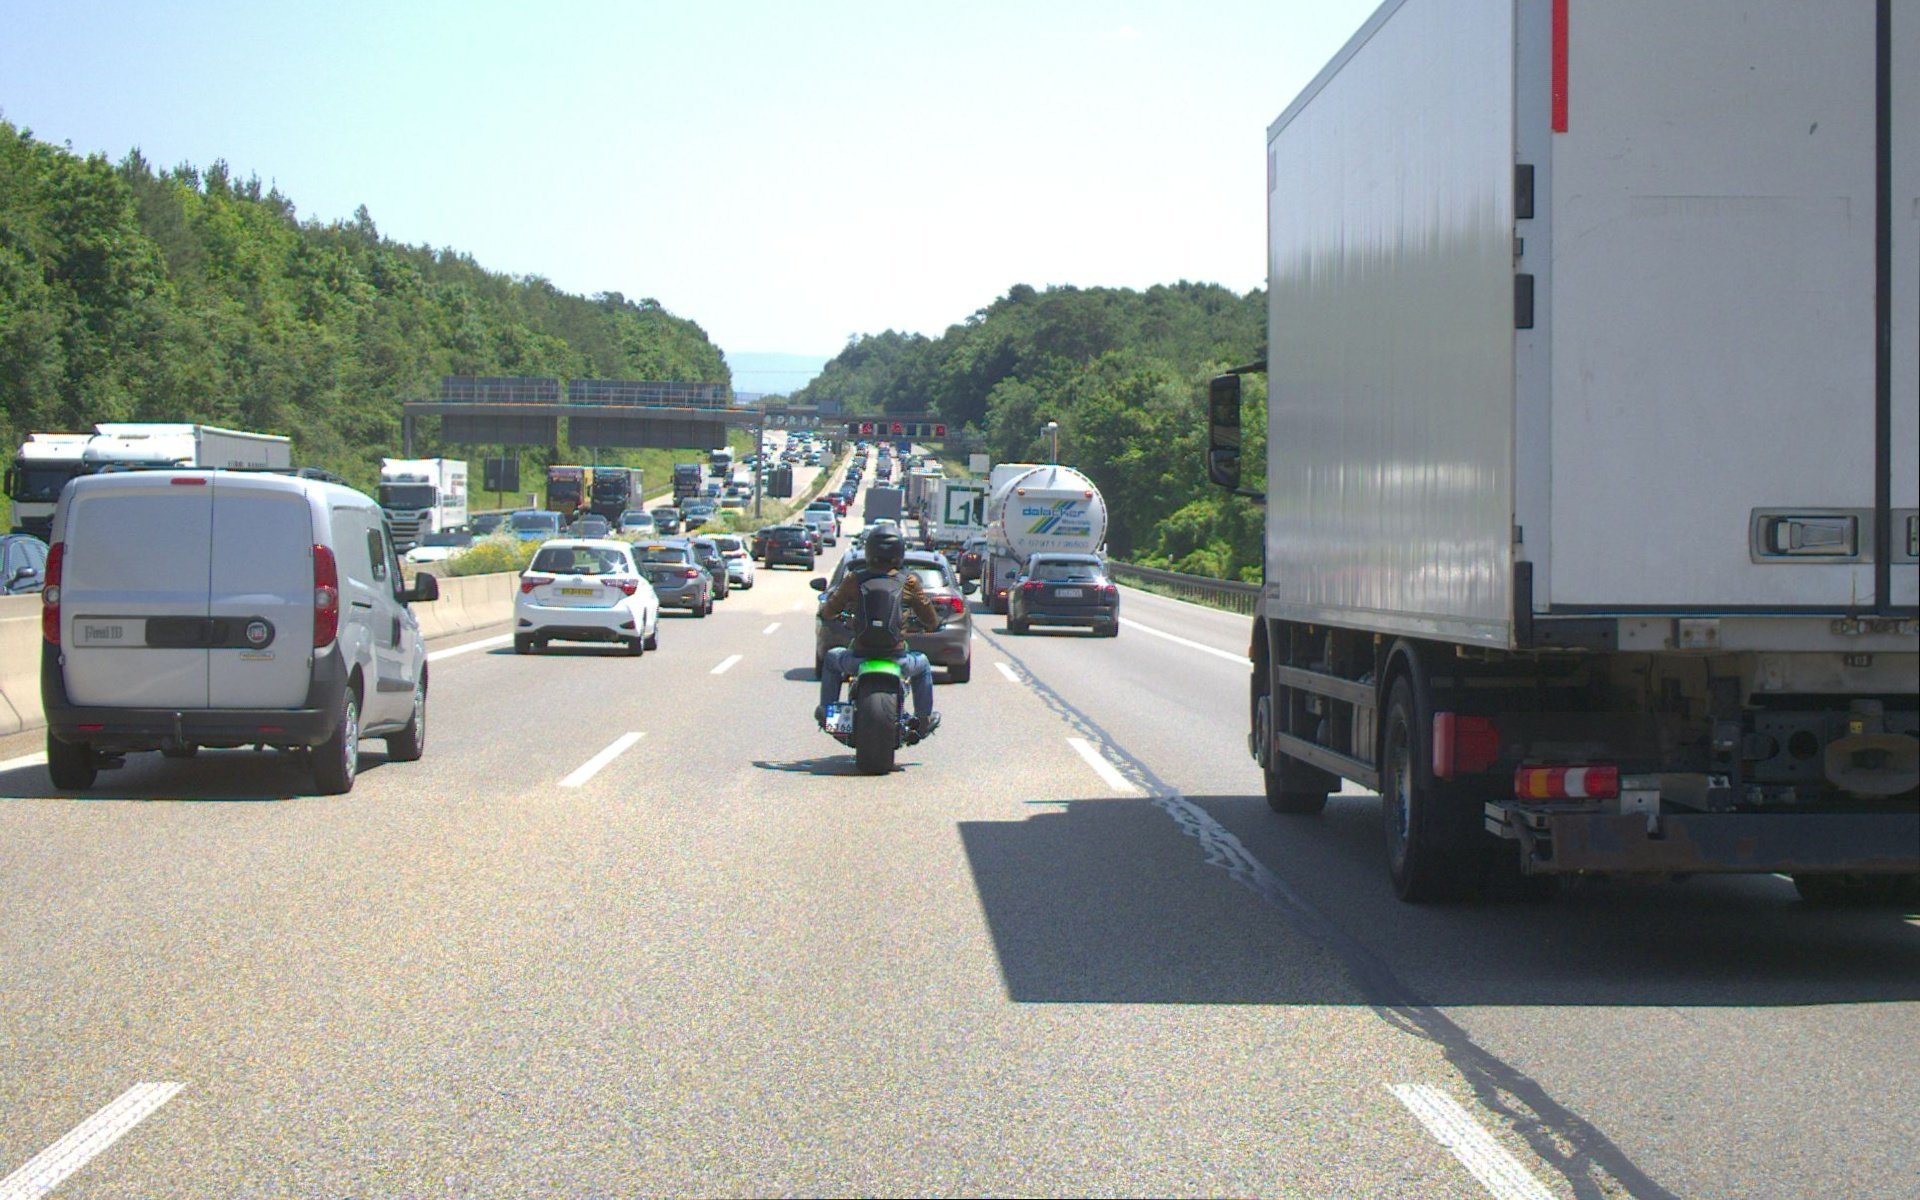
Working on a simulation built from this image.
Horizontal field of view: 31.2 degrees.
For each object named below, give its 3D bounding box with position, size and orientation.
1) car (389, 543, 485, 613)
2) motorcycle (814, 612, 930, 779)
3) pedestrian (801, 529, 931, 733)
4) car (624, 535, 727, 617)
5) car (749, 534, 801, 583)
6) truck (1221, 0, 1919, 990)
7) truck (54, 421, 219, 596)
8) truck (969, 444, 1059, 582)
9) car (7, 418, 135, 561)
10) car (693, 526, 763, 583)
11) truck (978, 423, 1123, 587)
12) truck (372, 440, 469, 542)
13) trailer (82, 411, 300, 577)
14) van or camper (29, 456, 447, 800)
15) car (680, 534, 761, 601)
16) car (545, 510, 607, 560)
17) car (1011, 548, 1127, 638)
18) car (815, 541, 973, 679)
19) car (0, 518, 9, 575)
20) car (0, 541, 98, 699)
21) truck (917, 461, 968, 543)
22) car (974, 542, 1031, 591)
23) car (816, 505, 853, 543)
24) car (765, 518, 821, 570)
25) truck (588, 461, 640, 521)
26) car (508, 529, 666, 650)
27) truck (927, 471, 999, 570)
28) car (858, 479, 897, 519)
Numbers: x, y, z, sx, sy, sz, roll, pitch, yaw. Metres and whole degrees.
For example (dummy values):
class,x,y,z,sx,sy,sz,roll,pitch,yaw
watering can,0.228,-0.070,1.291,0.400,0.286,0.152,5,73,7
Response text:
class,x,y,z,sx,sy,sz,roll,pitch,yaw
car,-13.729,-0.572,90.428,1.993,1.788,4.000,0,0,-1
motorcycle,-0.582,0.625,23.453,0.691,1.012,2.121,2,1,0
pedestrian,-0.631,0.197,23.317,0.849,1.357,0.961,0,1,0
car,-5.471,-0.490,66.404,1.699,1.473,4.000,2,1,-1
car,-7.719,-1.742,143.738,1.993,2.007,4.000,0,0,-1
truck,3.072,-0.693,16.706,2.688,3.863,9.781,-1,1,-1
truck,-20.649,-2.274,86.485,2.840,4.200,5.660,1,1,-1
truck,1.381,-2.241,90.205,1.993,3.510,4.752,0,0,-3
car,-24.622,-3.026,95.431,2.449,3.860,4.566,0,1,-1
car,-6.366,-1.278,94.594,1.699,1.473,4.000,2,1,-1
truck,2.053,-2.157,81.278,2.988,3.659,9.288,0,0,-1
truck,-22.787,-4.563,145.587,2.803,4.151,7.600,0,0,1
trailer,-20.673,-2.709,93.477,2.835,4.151,14.739,0,0,-1
van or camper,-4.401,0.140,21.568,1.796,1.886,4.160,2,0,-2
car,-5.704,-0.797,82.219,1.699,1.473,4.000,2,1,-1
car,-14.758,-2.485,132.211,1.911,1.841,5.036,0,0,-1
car,1.939,-0.145,62.242,1.828,1.465,4.000,2,1,-1
car,-0.720,0.078,39.819,1.533,1.504,4.000,0,1,3
car,-23.846,-1.270,80.837,1.762,1.365,4.502,1,1,-1
car,-11.949,0.214,41.541,1.947,1.795,4.694,0,0,-1
truck,-1.191,-6.458,227.626,3.033,5.121,9.983,3,1,-1
car,1.417,-1.144,116.218,1.787,1.550,3.804,2,1,-1
car,-6.930,-4.213,190.666,1.929,2.007,4.000,0,0,-1
car,-6.235,-2.102,128.457,1.880,1.853,4.000,2,1,-1
truck,-23.844,-7.491,237.150,2.906,3.960,7.770,0,0,-1
car,-4.916,-0.169,45.748,1.699,1.473,4.000,2,1,-1
truck,0.092,-3.864,166.592,3.033,4.526,9.983,3,1,-1
car,-5.484,-6.736,229.704,2.504,2.578,5.017,2,1,-1
